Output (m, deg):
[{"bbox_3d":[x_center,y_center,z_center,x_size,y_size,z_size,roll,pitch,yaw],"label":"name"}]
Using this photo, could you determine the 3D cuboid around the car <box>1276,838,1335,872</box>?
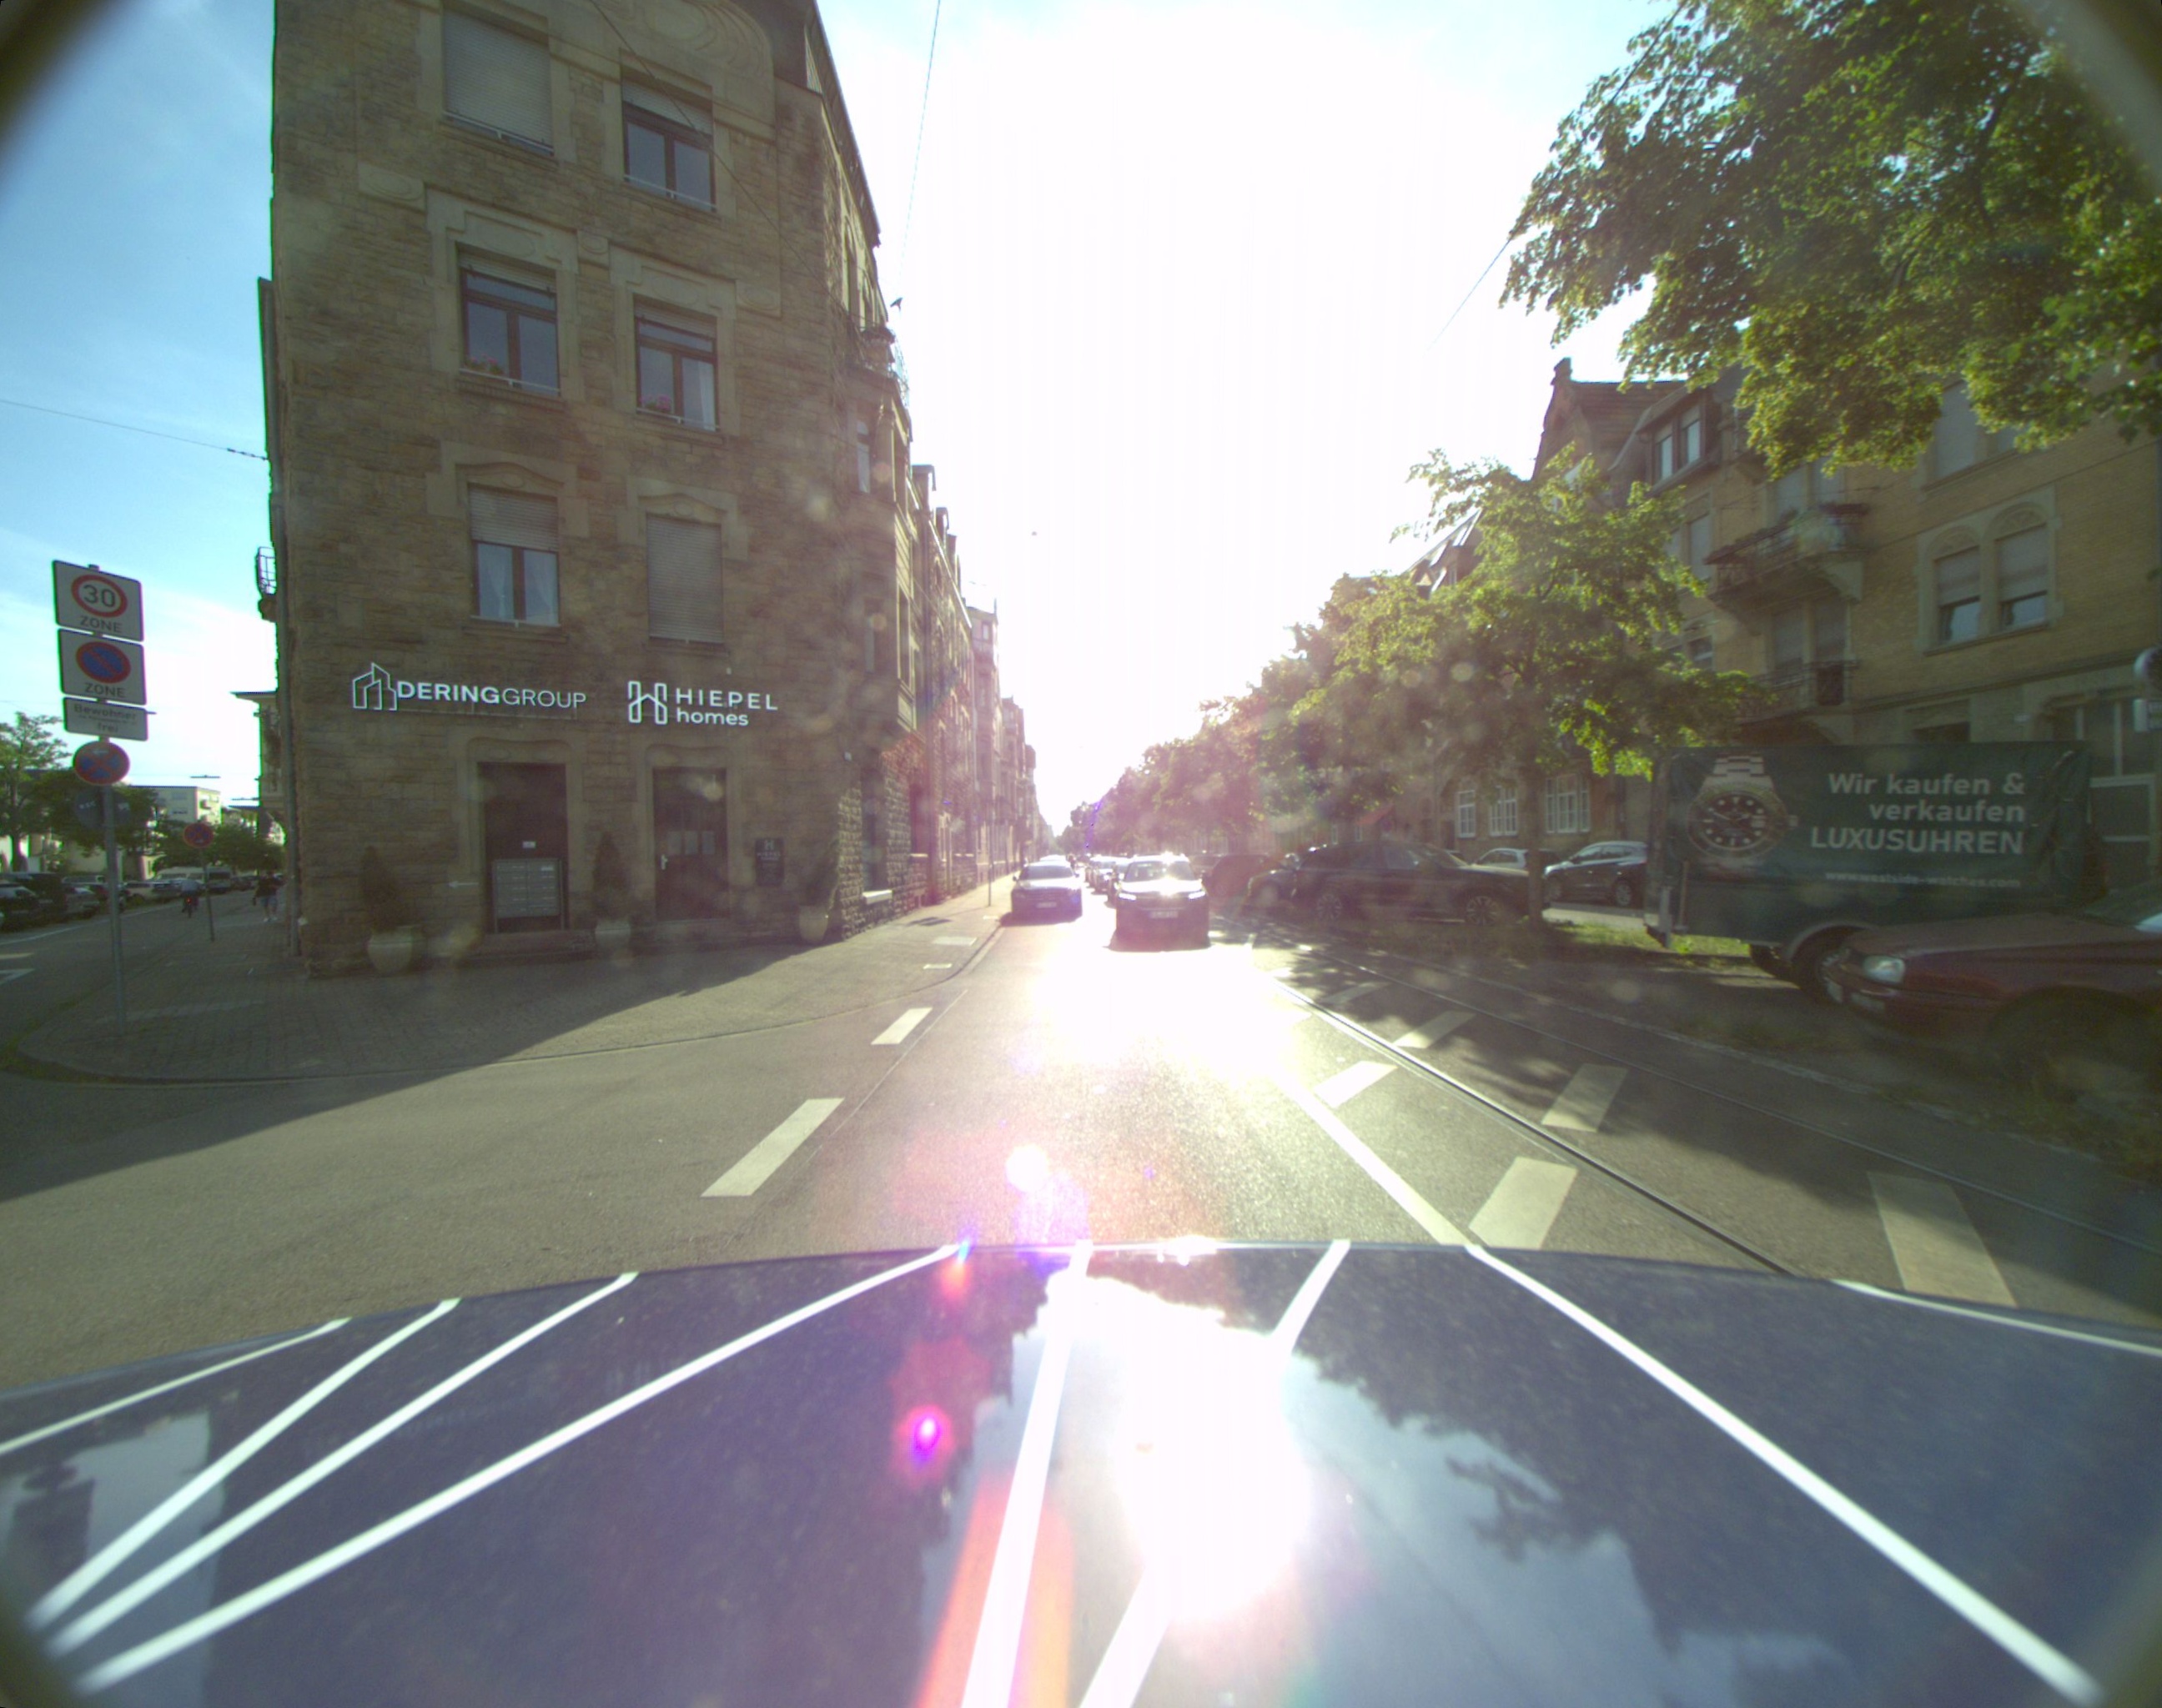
[{"bbox_3d":[13.529,0.060,46.063,2.170,1.890,4.610,-2,0,1],"label":"car"}]

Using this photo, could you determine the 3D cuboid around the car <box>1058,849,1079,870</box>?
[{"bbox_3d":[-1.292,0.539,75.479,1.999,2.002,3.999,-1,1,-2],"label":"car"}]

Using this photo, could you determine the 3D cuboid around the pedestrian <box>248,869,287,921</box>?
[{"bbox_3d":[-27.037,1.360,25.271,0.765,1.665,0.781,-3,1,-43],"label":"pedestrian"}]

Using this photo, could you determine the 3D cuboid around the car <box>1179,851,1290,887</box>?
[{"bbox_3d":[6.413,0.651,32.012,4.260,1.414,1.685,-2,0,40],"label":"car"}]

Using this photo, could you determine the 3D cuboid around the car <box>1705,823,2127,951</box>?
[{"bbox_3d":[13.889,0.472,13.239,2.170,1.740,4.718,-2,0,1],"label":"car"}]

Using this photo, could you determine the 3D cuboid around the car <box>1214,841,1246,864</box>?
[{"bbox_3d":[13.989,-0.152,71.504,1.999,2.002,3.999,-2,0,-1],"label":"car"}]

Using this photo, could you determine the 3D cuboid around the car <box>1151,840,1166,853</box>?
[{"bbox_3d":[12.368,-1.134,121.756,1.998,2.002,4.000,-2,0,2],"label":"car"}]

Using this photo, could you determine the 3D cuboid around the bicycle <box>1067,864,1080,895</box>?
[{"bbox_3d":[-0.304,1.031,31.266,0.484,1.183,1.339,-2,0,-2],"label":"bicycle"}]

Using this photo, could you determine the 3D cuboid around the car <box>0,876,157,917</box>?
[{"bbox_3d":[-47.057,1.957,35.776,4.005,1.641,1.996,-2,0,-26],"label":"car"}]

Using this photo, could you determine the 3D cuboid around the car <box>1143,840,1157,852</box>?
[{"bbox_3d":[12.138,-1.334,134.182,1.999,2.002,3.999,-2,0,-2],"label":"car"}]

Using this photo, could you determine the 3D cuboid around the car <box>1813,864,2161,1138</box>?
[{"bbox_3d":[6.740,0.750,4.007,3.942,1.352,1.676,-1,1,36],"label":"car"}]

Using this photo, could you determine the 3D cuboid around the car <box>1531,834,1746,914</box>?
[{"bbox_3d":[14.087,0.460,19.641,2.170,1.740,4.610,-2,0,1],"label":"car"}]

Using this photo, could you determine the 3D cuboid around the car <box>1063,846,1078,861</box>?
[{"bbox_3d":[-1.443,-0.101,106.881,1.999,2.002,3.999,-1,1,-2],"label":"car"}]

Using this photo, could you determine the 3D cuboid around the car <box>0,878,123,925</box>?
[{"bbox_3d":[-40.170,1.826,28.966,4.005,1.641,1.996,-2,0,-26],"label":"car"}]

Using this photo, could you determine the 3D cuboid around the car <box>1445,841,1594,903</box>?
[{"bbox_3d":[13.951,0.529,24.564,2.170,1.740,4.610,-2,0,1],"label":"car"}]

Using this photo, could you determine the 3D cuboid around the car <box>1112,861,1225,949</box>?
[{"bbox_3d":[1.620,0.920,15.398,1.840,1.472,4.000,-1,0,0],"label":"car"}]

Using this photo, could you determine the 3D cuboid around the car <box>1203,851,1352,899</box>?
[{"bbox_3d":[6.426,0.697,25.055,4.294,1.414,1.963,-2,0,40],"label":"car"}]

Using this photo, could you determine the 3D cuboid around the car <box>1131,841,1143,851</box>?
[{"bbox_3d":[11.399,-1.604,155.932,1.999,2.002,3.999,-2,0,-2],"label":"car"}]

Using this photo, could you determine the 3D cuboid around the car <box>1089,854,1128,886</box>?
[{"bbox_3d":[1.362,0.786,39.310,1.840,1.472,4.000,-2,0,0],"label":"car"}]

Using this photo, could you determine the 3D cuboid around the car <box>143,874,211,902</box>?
[{"bbox_3d":[-59.020,2.201,49.680,2.004,1.641,3.990,-2,0,-38],"label":"car"}]

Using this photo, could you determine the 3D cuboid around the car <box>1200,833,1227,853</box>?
[{"bbox_3d":[13.850,-1.149,79.609,1.999,2.002,3.999,-2,0,-1],"label":"car"}]

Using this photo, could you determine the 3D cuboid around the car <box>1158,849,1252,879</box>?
[{"bbox_3d":[6.401,0.539,39.368,4.260,1.414,2.176,-2,0,40],"label":"car"}]

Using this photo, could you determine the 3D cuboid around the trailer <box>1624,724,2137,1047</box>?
[{"bbox_3d":[6.918,0.267,7.040,2.859,2.378,1.726,-2,0,30],"label":"trailer"}]

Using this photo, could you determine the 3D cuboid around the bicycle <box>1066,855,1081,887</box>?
[{"bbox_3d":[-0.313,0.677,31.250,0.575,1.290,0.688,-2,1,-1],"label":"bicycle"}]

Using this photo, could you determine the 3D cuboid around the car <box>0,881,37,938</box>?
[{"bbox_3d":[-33.143,1.691,21.460,4.000,1.641,1.998,-2,0,-9],"label":"car"}]

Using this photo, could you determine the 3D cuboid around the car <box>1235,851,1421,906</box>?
[{"bbox_3d":[6.836,0.683,21.222,4.598,1.373,1.705,-2,0,33],"label":"car"}]

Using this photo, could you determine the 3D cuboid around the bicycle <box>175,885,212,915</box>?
[{"bbox_3d":[-36.405,1.860,31.194,0.696,1.149,2.473,-3,0,-43],"label":"bicycle"}]

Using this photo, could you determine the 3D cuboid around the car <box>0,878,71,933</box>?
[{"bbox_3d":[-35.151,1.682,23.597,4.005,1.641,1.996,-2,0,-26],"label":"car"}]

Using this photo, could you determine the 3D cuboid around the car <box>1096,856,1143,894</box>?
[{"bbox_3d":[1.612,0.864,33.264,1.840,1.472,4.000,-2,0,0],"label":"car"}]

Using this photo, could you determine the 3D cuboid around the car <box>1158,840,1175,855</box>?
[{"bbox_3d":[12.417,-0.932,110.583,1.998,2.002,4.000,-2,0,2],"label":"car"}]

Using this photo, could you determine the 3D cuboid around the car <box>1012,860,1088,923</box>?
[{"bbox_3d":[-0.877,0.955,21.148,1.840,1.494,4.265,-2,0,-3],"label":"car"}]

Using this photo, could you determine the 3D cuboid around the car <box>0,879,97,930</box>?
[{"bbox_3d":[-37.315,1.769,25.944,4.005,1.641,1.996,-2,0,-26],"label":"car"}]

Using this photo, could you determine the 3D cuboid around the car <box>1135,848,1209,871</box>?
[{"bbox_3d":[5.892,0.363,49.413,4.259,1.414,2.176,-1,0,40],"label":"car"}]

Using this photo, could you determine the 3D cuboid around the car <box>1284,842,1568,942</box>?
[{"bbox_3d":[6.723,0.658,15.099,4.704,1.680,2.176,-1,1,40],"label":"car"}]

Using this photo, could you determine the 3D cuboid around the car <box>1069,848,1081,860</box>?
[{"bbox_3d":[-1.117,-0.023,142.070,1.998,2.002,4.001,-2,0,3],"label":"car"}]

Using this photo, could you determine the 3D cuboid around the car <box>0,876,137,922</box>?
[{"bbox_3d":[-42.696,1.857,31.472,4.005,1.641,1.996,-2,0,-26],"label":"car"}]

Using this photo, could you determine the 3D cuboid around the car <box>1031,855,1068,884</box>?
[{"bbox_3d":[-1.731,0.843,43.134,1.840,1.472,4.000,-2,0,0],"label":"car"}]

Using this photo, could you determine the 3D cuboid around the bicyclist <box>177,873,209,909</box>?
[{"bbox_3d":[-36.599,1.525,31.334,0.745,1.447,0.652,-3,1,-43],"label":"bicyclist"}]

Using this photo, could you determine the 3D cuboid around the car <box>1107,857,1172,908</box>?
[{"bbox_3d":[1.883,0.885,25.528,1.840,1.472,4.000,-2,0,0],"label":"car"}]
